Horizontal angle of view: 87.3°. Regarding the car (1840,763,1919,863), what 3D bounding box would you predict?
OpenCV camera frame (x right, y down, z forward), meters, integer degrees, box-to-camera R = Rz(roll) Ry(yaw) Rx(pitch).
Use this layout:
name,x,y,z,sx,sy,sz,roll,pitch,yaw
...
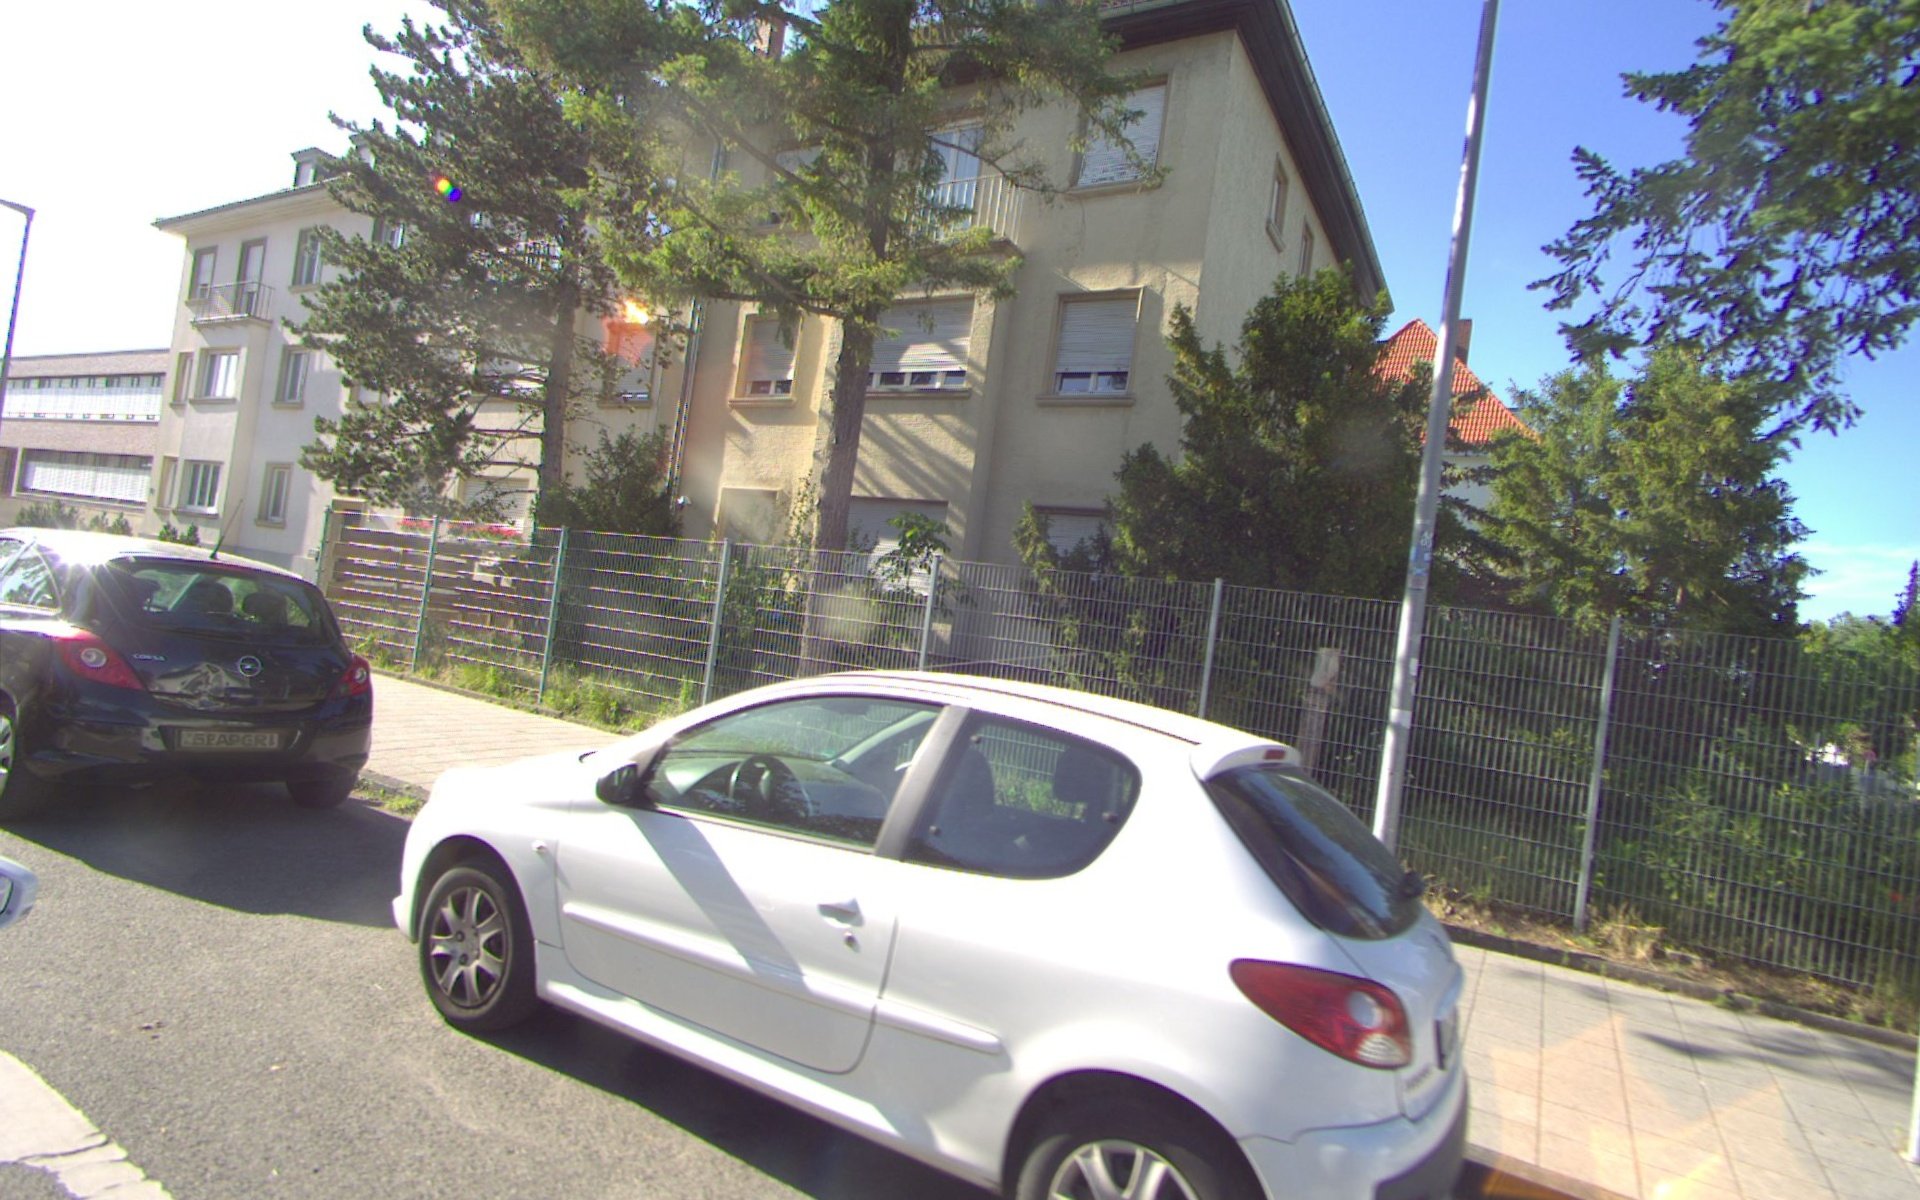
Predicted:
name,x,y,z,sx,sy,sz,roll,pitch,yaw
car,18.782,4.138,17.970,4.132,1.581,1.842,8,-2,28

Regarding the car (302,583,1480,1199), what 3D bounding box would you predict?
name,x,y,z,sx,sy,sz,roll,pitch,yaw
car,-0.349,0.919,3.565,3.713,1.413,1.706,6,-3,30

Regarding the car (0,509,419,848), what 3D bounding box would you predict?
name,x,y,z,sx,sy,sz,roll,pitch,yaw
car,-5.371,0.301,6.268,3.762,1.511,1.676,6,-3,31
